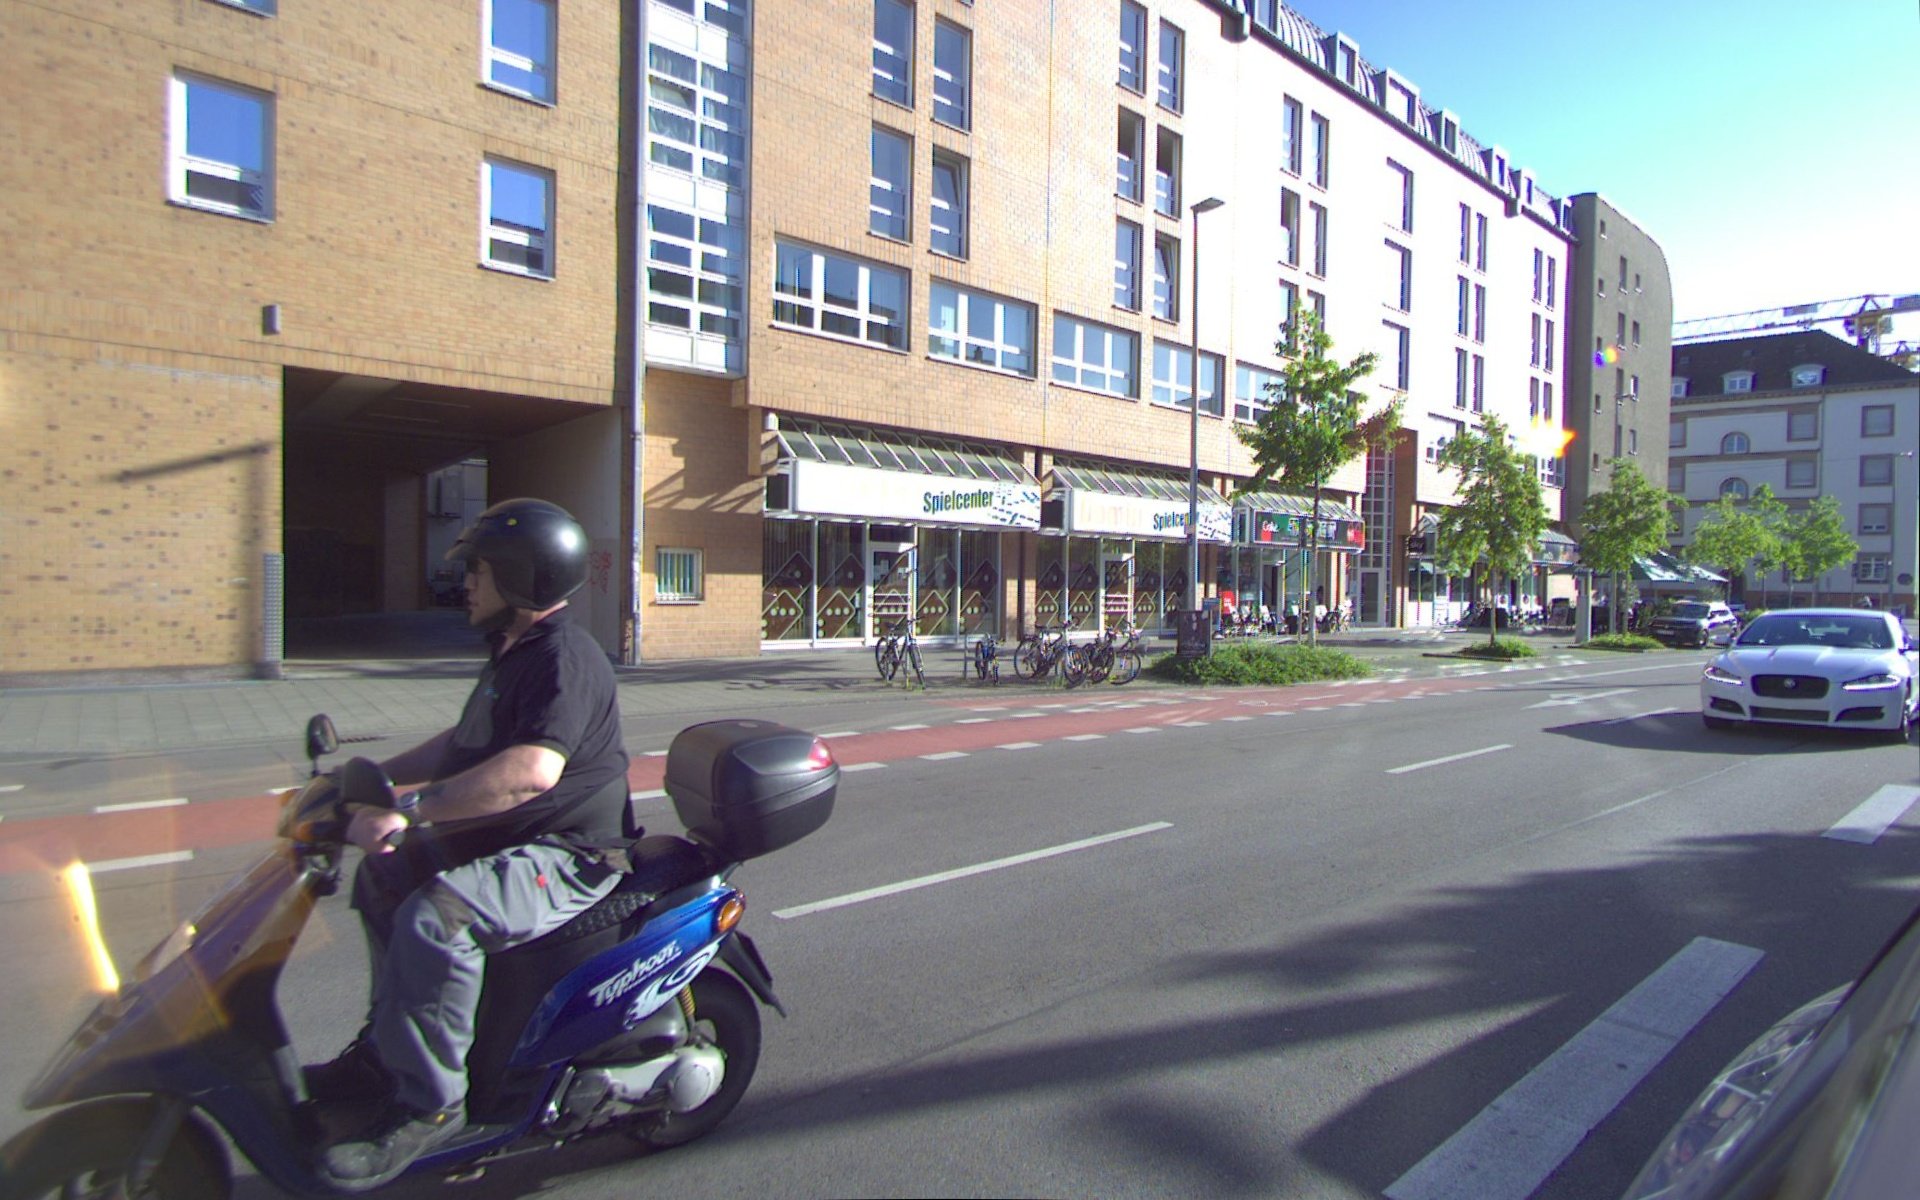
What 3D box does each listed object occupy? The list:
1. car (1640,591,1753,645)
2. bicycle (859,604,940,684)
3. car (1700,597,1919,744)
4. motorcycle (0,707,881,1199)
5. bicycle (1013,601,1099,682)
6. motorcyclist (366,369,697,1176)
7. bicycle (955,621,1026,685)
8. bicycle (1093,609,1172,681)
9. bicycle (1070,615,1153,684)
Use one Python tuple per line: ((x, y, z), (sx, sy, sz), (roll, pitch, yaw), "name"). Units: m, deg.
((25.536, 0.596, 35.049), (3.921, 1.659, 1.782), (0, 3, -33), "car")
((-0.993, 0.669, 16.169), (0.423, 1.089, 1.776), (-1, 4, -35), "bicycle")
((10.707, 0.704, 12.379), (4.376, 1.448, 1.806), (0, 1, -42), "car")
((-1.355, 0.900, 2.223), (2.334, 1.063, 0.805), (-1, 1, -41), "motorcycle")
((1.590, 0.672, 17.135), (0.553, 1.177, 1.843), (0, 3, -26), "bicycle")
((-1.072, 0.336, 2.481), (0.520, 1.600, 0.797), (-1, 0, -41), "motorcyclist")
((0.476, 0.848, 16.708), (0.359, 0.842, 1.779), (0, 3, -26), "bicycle")
((3.013, 0.766, 17.837), (0.343, 1.069, 1.843), (0, 3, -26), "bicycle")
((2.603, 0.825, 17.604), (0.440, 0.997, 1.843), (0, 3, -26), "bicycle")
